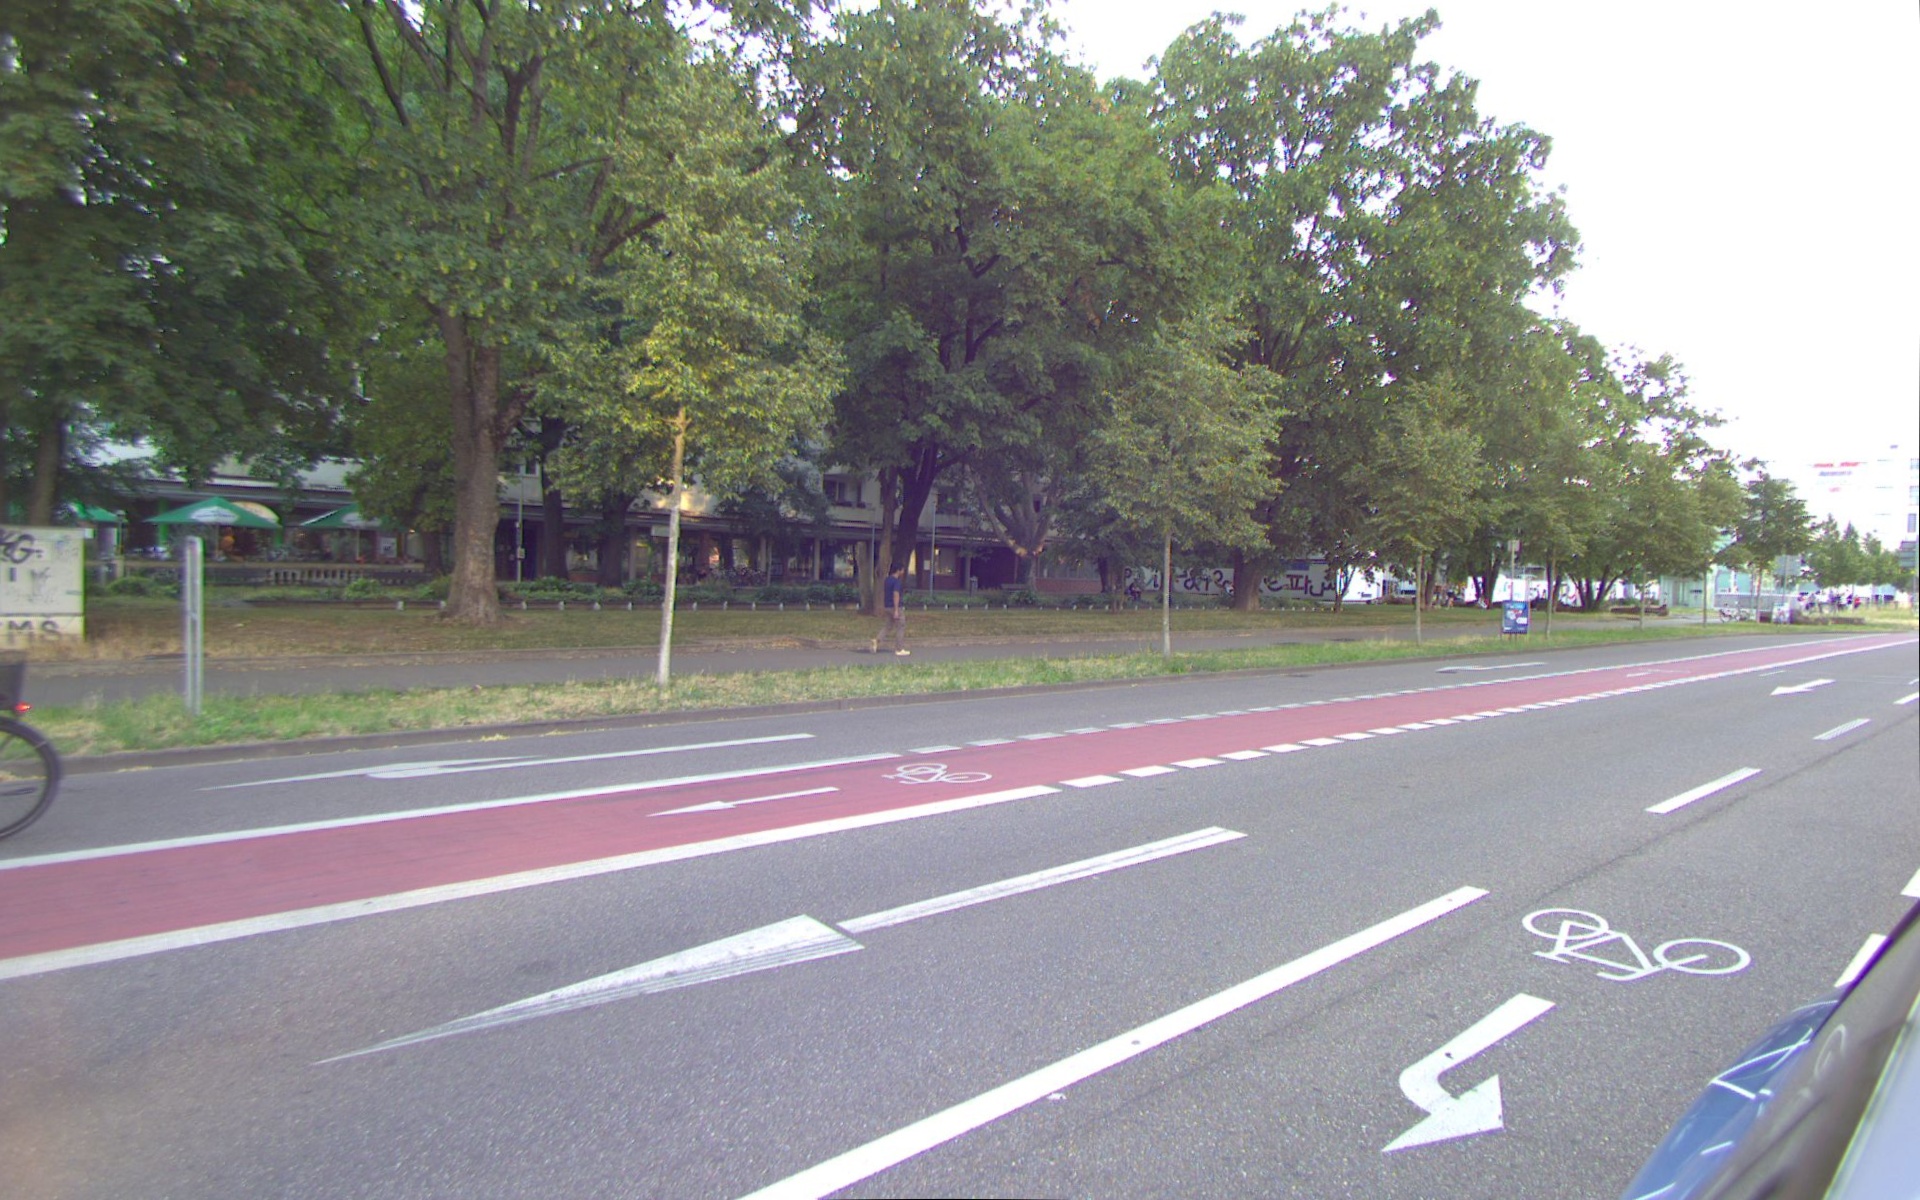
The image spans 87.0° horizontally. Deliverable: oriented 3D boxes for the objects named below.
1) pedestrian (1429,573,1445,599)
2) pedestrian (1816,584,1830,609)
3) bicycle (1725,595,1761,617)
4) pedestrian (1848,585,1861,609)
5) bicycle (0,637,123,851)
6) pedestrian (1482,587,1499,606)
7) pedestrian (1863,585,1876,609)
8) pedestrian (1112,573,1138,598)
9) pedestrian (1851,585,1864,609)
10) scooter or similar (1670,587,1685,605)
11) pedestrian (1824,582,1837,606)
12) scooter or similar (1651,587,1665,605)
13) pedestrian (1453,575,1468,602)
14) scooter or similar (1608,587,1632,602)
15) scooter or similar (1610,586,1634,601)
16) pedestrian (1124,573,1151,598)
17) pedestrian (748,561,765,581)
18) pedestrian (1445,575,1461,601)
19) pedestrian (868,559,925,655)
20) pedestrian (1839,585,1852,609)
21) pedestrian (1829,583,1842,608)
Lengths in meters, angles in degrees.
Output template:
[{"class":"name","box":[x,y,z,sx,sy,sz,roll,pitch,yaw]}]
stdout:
[{"class":"pedestrian","box":[35.385,-1.016,75.078,0.587,1.879,0.771,1,1,-25]},{"class":"pedestrian","box":[69.942,-0.269,82.014,0.608,1.957,0.644,1,2,-38]},{"class":"bicycle","box":[40.708,0.309,52.608,1.858,1.017,0.497,2,4,-21]},{"class":"pedestrian","box":[75.329,-0.250,85.207,0.608,1.957,0.644,1,2,-38]},{"class":"bicycle","box":[-5.692,0.791,5.277,0.728,1.082,1.990,2,2,44]},{"class":"pedestrian","box":[26.448,-0.176,50.455,0.674,0.895,0.588,2,2,25]},{"class":"pedestrian","box":[75.772,-0.220,84.325,0.608,1.957,0.644,1,2,-38]},{"class":"pedestrian","box":[8.793,-0.792,53.971,0.712,1.276,1.135,0,2,-38]},{"class":"pedestrian","box":[74.573,-0.255,84.109,0.608,1.957,0.644,1,2,-38]},{"class":"scooter or similar","box":[50.385,-0.272,71.039,1.374,1.235,0.425,1,4,-40]},{"class":"pedestrian","box":[73.250,-0.518,85.123,0.608,1.957,0.644,1,2,-38]},{"class":"scooter or similar","box":[49.578,-0.311,71.888,0.473,1.235,1.550,6,4,43]},{"class":"pedestrian","box":[36.157,-0.851,73.110,0.587,1.943,0.771,1,1,-25]},{"class":"scooter or similar","box":[54.818,-0.497,84.094,0.466,1.236,1.571,0,1,-42]},{"class":"scooter or similar","box":[55.380,-0.514,84.673,0.466,1.236,1.571,0,1,-42]},{"class":"pedestrian","box":[9.562,-0.778,54.505,0.889,1.276,1.135,0,2,-38]},{"class":"pedestrian","box":[-11.813,-1.689,58.779,0.687,1.178,0.788,0,2,-39]},{"class":"pedestrian","box":[36.440,-0.889,74.794,0.587,1.843,0.771,1,1,-25]},{"class":"pedestrian","box":[-1.161,0.111,18.542,0.736,1.714,0.695,0,2,-45]},{"class":"pedestrian","box":[74.408,-0.276,85.028,0.608,1.957,0.644,1,2,-38]},{"class":"pedestrian","box":[70.400,-0.336,81.389,0.608,1.957,0.644,1,2,-38]}]
